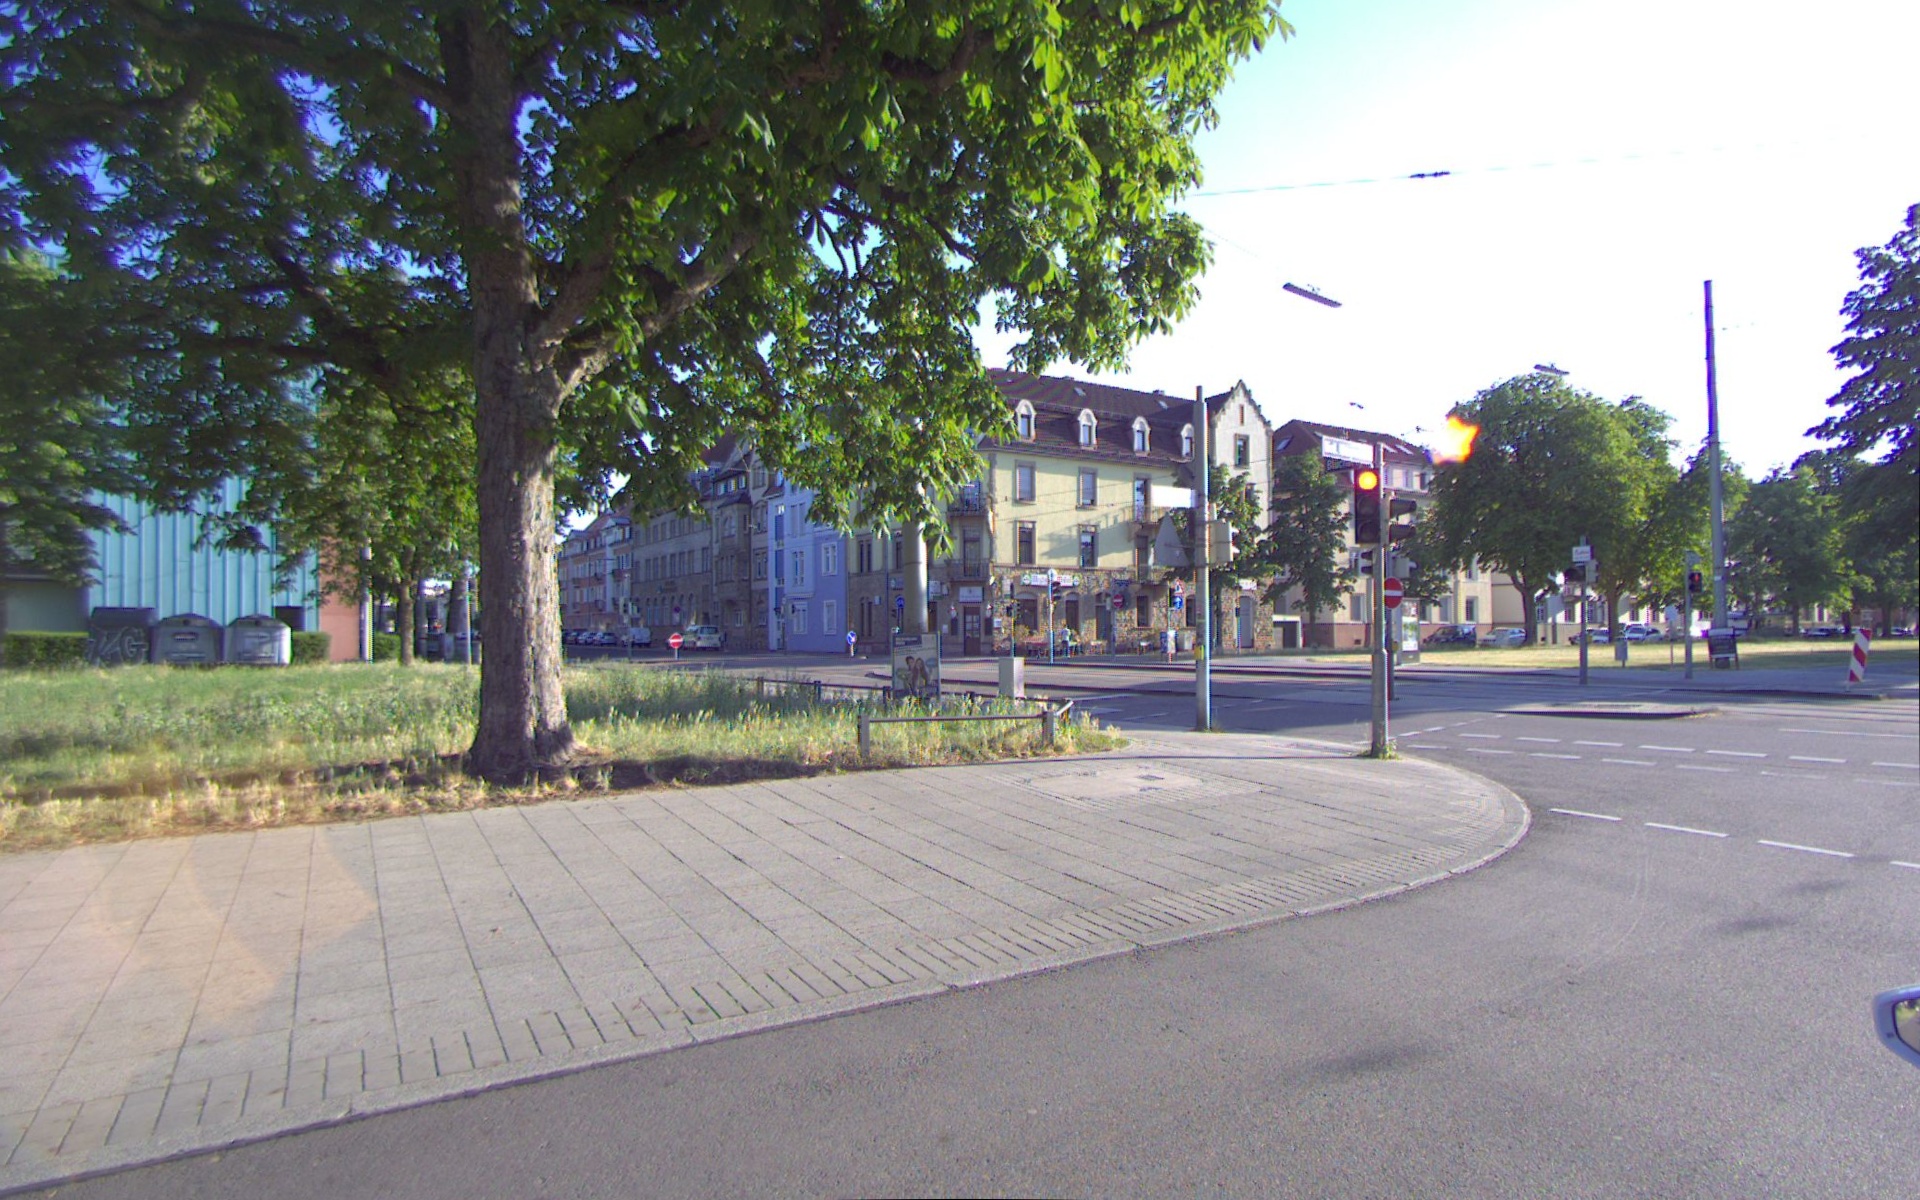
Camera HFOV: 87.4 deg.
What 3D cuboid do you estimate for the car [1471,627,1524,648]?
[{"bbox_3d":[40.801,2.809,76.236,3.741,1.446,1.733,-1,0,-26],"label":"car"}]

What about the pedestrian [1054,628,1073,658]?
[{"bbox_3d":[5.779,2.393,56.184,0.803,1.664,0.722,0,-1,-21],"label":"pedestrian"}]

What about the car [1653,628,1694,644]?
[{"bbox_3d":[65.834,3.277,92.712,3.749,1.446,1.729,1,-2,-31],"label":"car"}]

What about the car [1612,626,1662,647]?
[{"bbox_3d":[51.343,2.716,76.135,3.748,1.446,1.729,-1,-1,-31],"label":"car"}]

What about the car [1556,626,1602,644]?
[{"bbox_3d":[51.986,2.921,84.356,3.749,1.446,1.729,1,-2,-31],"label":"car"}]

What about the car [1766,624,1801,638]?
[{"bbox_3d":[86.161,3.249,105.113,3.749,1.446,1.729,1,-1,-31],"label":"car"}]

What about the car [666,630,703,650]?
[{"bbox_3d":[-22.819,3.323,83.101,2.074,1.612,4.014,2,-2,-29],"label":"car"}]

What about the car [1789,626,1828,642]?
[{"bbox_3d":[80.199,3.222,94.958,3.749,1.446,1.729,1,-1,-31],"label":"car"}]

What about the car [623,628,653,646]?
[{"bbox_3d":[-30.168,3.495,94.067,1.888,1.610,4.013,2,-2,-29],"label":"car"}]

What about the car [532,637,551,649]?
[{"bbox_3d":[-54.667,5.571,131.086,1.867,1.433,4.013,1,-2,-29],"label":"car"}]

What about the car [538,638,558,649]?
[{"bbox_3d":[-52.122,5.491,127.037,1.867,1.433,4.013,1,-2,-29],"label":"car"}]

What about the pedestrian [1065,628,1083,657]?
[{"bbox_3d":[6.449,2.416,57.062,0.715,1.664,0.811,0,-1,-23],"label":"pedestrian"}]

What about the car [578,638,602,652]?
[{"bbox_3d":[-39.914,4.804,108.382,1.867,1.433,4.013,1,-2,-29],"label":"car"}]

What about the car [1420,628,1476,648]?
[{"bbox_3d":[35.423,2.756,72.868,3.741,1.416,1.733,1,-2,-26],"label":"car"}]

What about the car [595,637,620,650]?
[{"bbox_3d":[-36.457,4.482,103.862,1.867,1.299,4.013,1,-2,-29],"label":"car"}]

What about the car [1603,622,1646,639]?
[{"bbox_3d":[57.471,2.634,86.877,3.749,1.446,1.729,1,-2,-31],"label":"car"}]

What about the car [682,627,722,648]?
[{"bbox_3d":[-20.136,2.926,78.384,2.074,1.612,4.014,2,-2,-29],"label":"car"}]

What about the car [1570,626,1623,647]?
[{"bbox_3d":[46.207,2.635,72.909,3.749,1.446,1.729,1,-1,-31],"label":"car"}]

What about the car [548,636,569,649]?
[{"bbox_3d":[-48.963,5.167,122.368,1.867,1.433,4.013,1,-2,-29],"label":"car"}]

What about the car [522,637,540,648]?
[{"bbox_3d":[-57.596,5.647,134.887,1.867,1.433,4.013,1,-2,-29],"label":"car"}]

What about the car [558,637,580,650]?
[{"bbox_3d":[-45.929,5.121,117.856,1.867,1.433,4.013,1,-2,-29],"label":"car"}]

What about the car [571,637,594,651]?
[{"bbox_3d":[-42.652,4.972,113.505,1.867,1.433,4.013,1,-2,-29],"label":"car"}]
